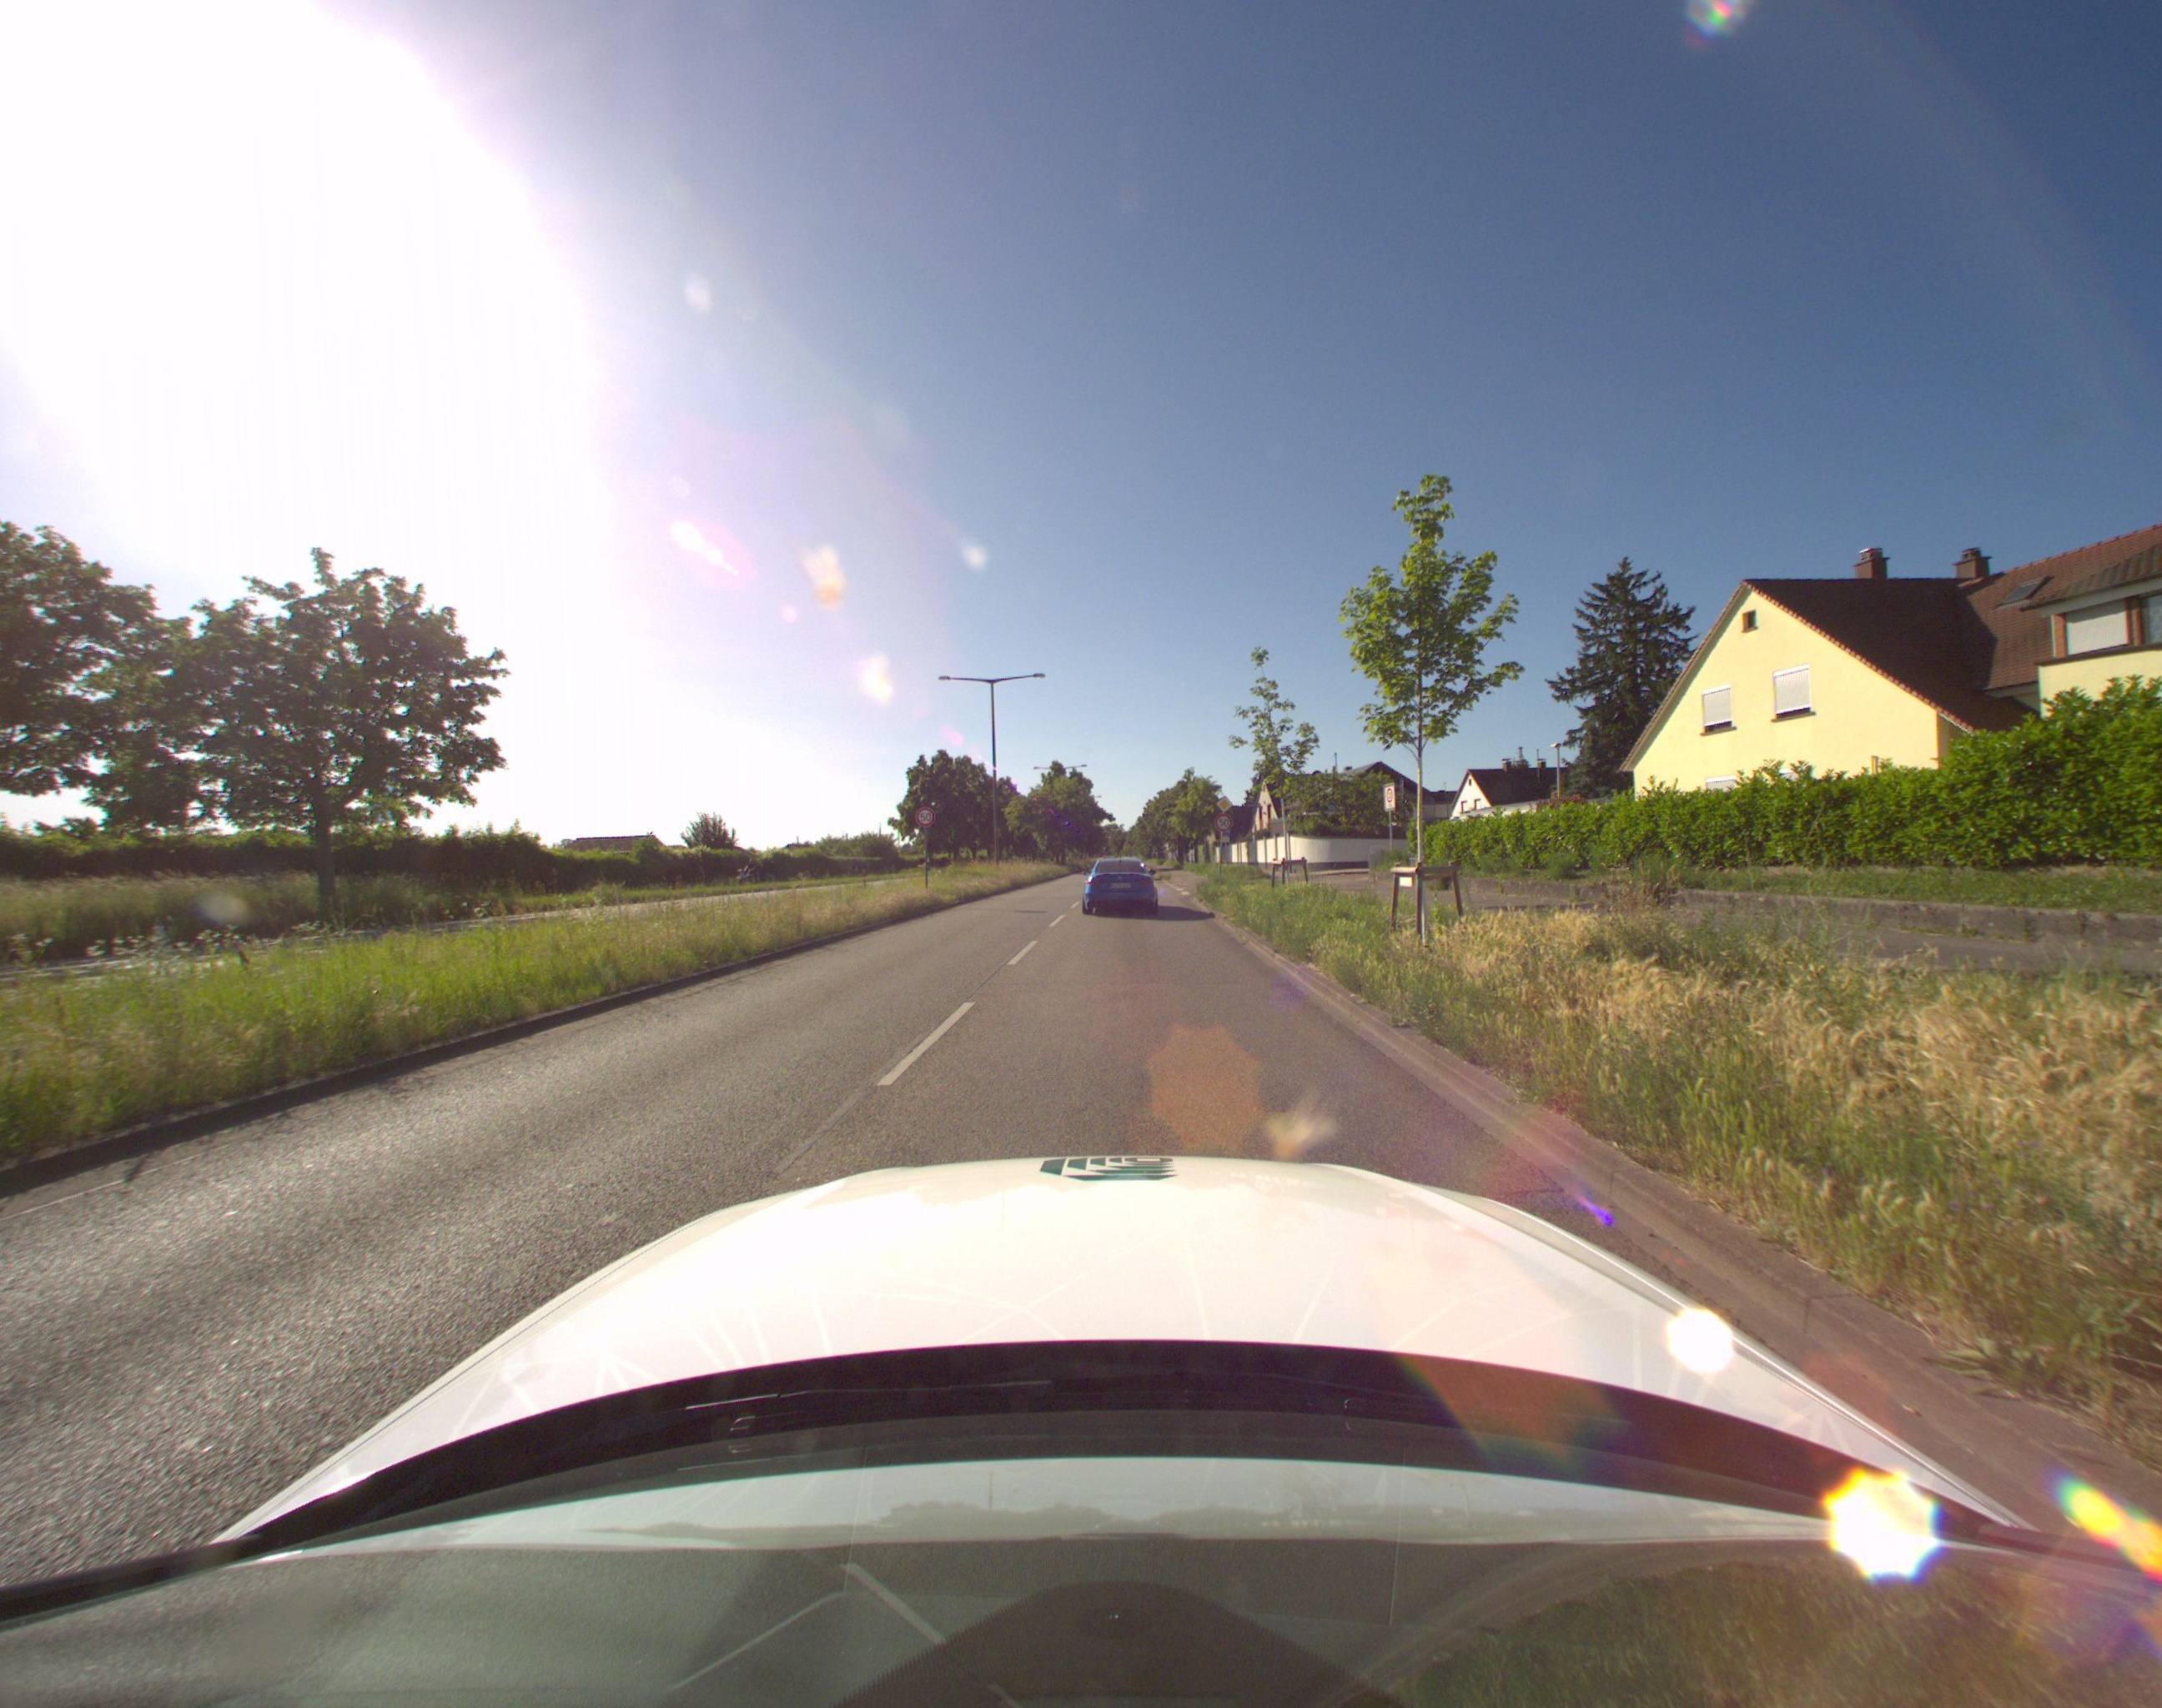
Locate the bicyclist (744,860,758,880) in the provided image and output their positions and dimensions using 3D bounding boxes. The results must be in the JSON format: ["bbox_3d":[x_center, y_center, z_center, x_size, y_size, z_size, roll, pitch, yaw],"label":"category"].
[{"bbox_3d":[-21.213,1.021,52.320,0.579,1.257,0.577,-1,-1,10],"label":"bicyclist"}]

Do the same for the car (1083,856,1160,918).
[{"bbox_3d":[1.047,0.797,21.677,1.831,1.474,4.186,-1,0,2],"label":"car"}]

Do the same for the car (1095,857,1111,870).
[{"bbox_3d":[2.780,1.133,101.704,1.908,1.512,4.069,-1,0,1],"label":"car"}]

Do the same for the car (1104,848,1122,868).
[{"bbox_3d":[3.382,0.414,85.989,1.785,2.014,4.003,-1,0,3],"label":"car"}]

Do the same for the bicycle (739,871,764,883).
[{"bbox_3d":[-21.187,1.493,52.409,0.561,0.695,1.880,-1,0,10],"label":"bicycle"}]

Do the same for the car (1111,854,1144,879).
[{"bbox_3d":[3.098,0.839,54.706,1.909,1.579,4.180,-1,0,-1],"label":"car"}]
